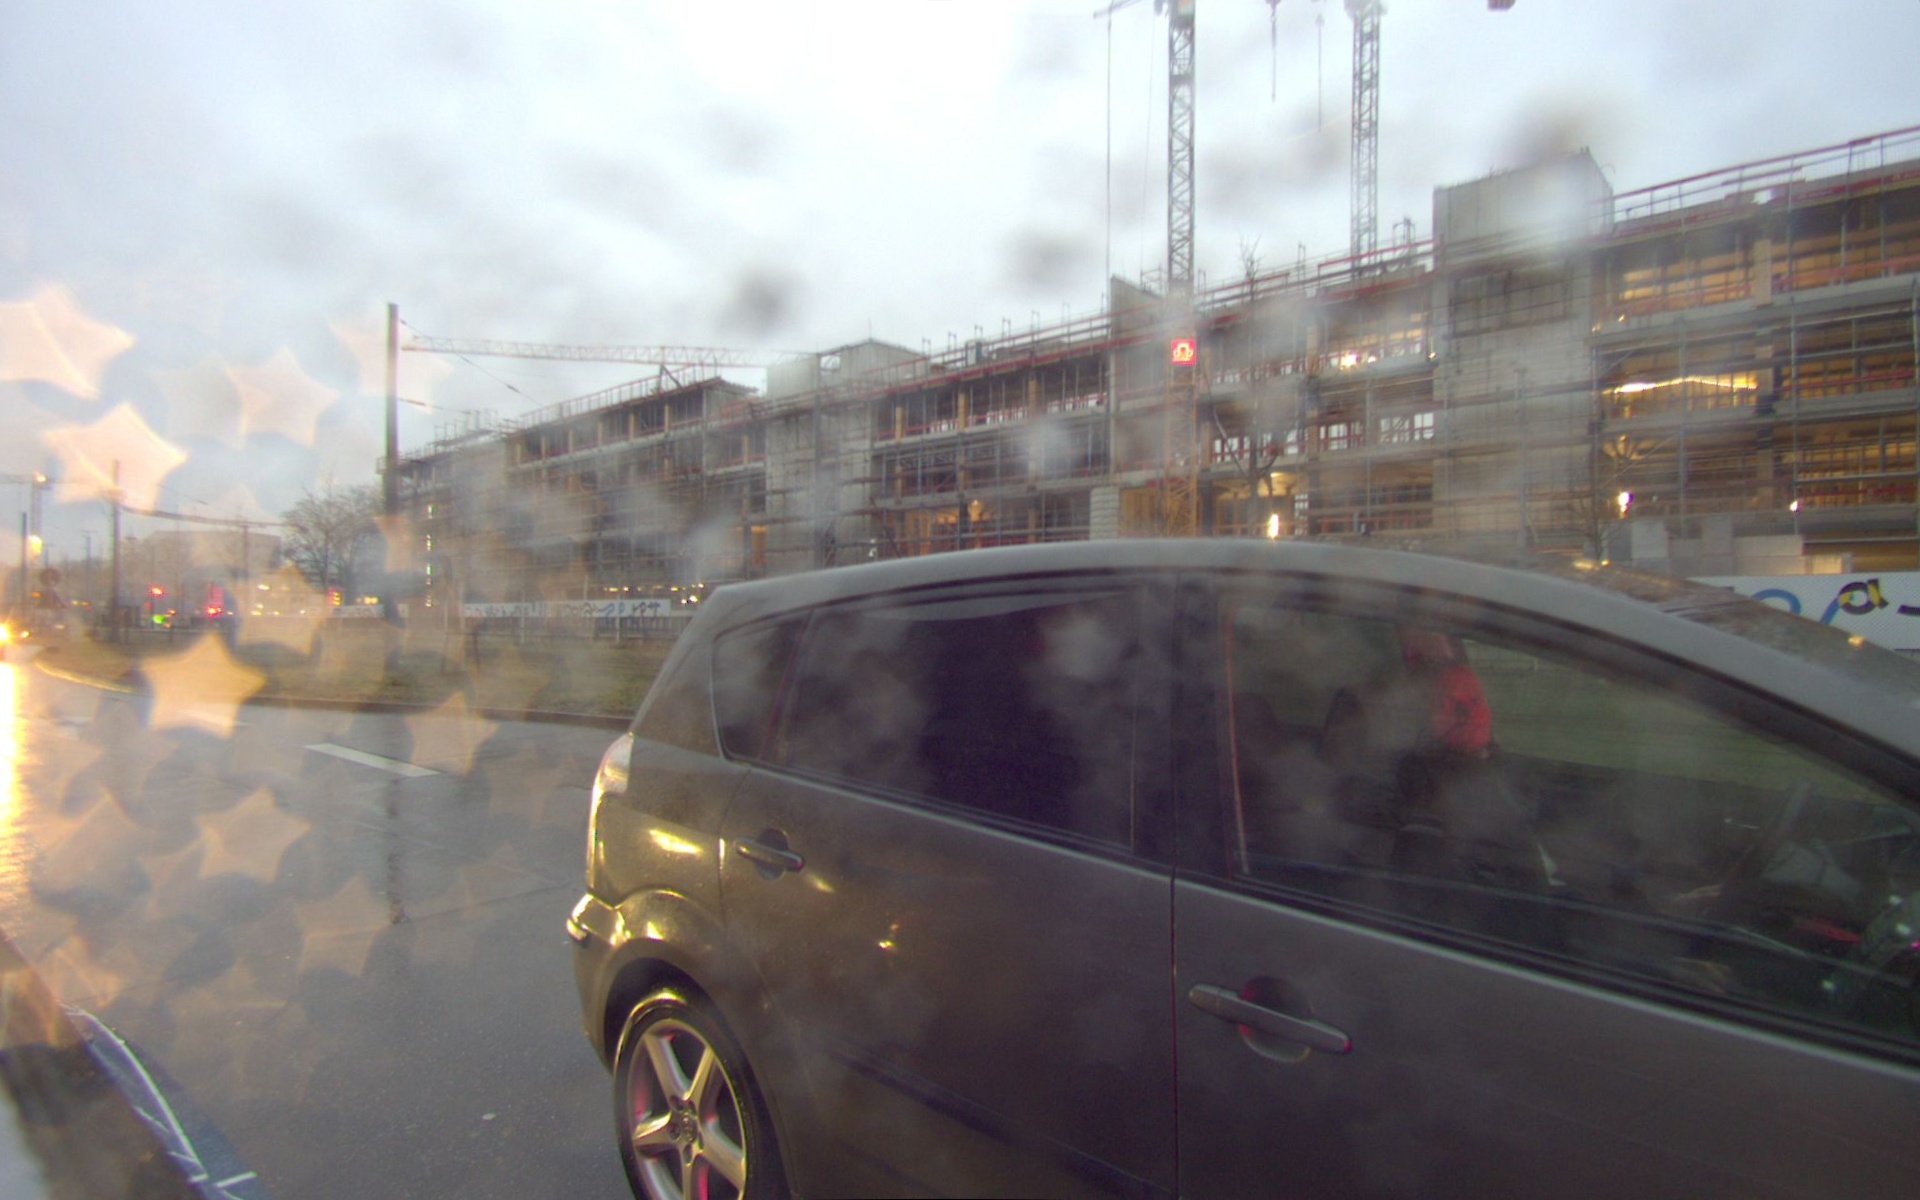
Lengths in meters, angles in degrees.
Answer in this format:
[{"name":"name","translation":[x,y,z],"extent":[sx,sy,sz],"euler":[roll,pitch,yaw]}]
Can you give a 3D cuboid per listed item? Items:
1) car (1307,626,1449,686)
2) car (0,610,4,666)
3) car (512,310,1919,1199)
[{"name":"car","translation":[13.913,1.815,33.773],"extent":[3.997,1.785,1.973],"euler":[-1,0,40]},{"name":"car","translation":[-32.198,1.218,32.550],"extent":[4.000,1.746,1.833],"euler":[-1,0,43]},{"name":"car","translation":[1.023,0.551,1.835],"extent":[3.996,1.606,1.742],"euler":[-1,0,39]}]
